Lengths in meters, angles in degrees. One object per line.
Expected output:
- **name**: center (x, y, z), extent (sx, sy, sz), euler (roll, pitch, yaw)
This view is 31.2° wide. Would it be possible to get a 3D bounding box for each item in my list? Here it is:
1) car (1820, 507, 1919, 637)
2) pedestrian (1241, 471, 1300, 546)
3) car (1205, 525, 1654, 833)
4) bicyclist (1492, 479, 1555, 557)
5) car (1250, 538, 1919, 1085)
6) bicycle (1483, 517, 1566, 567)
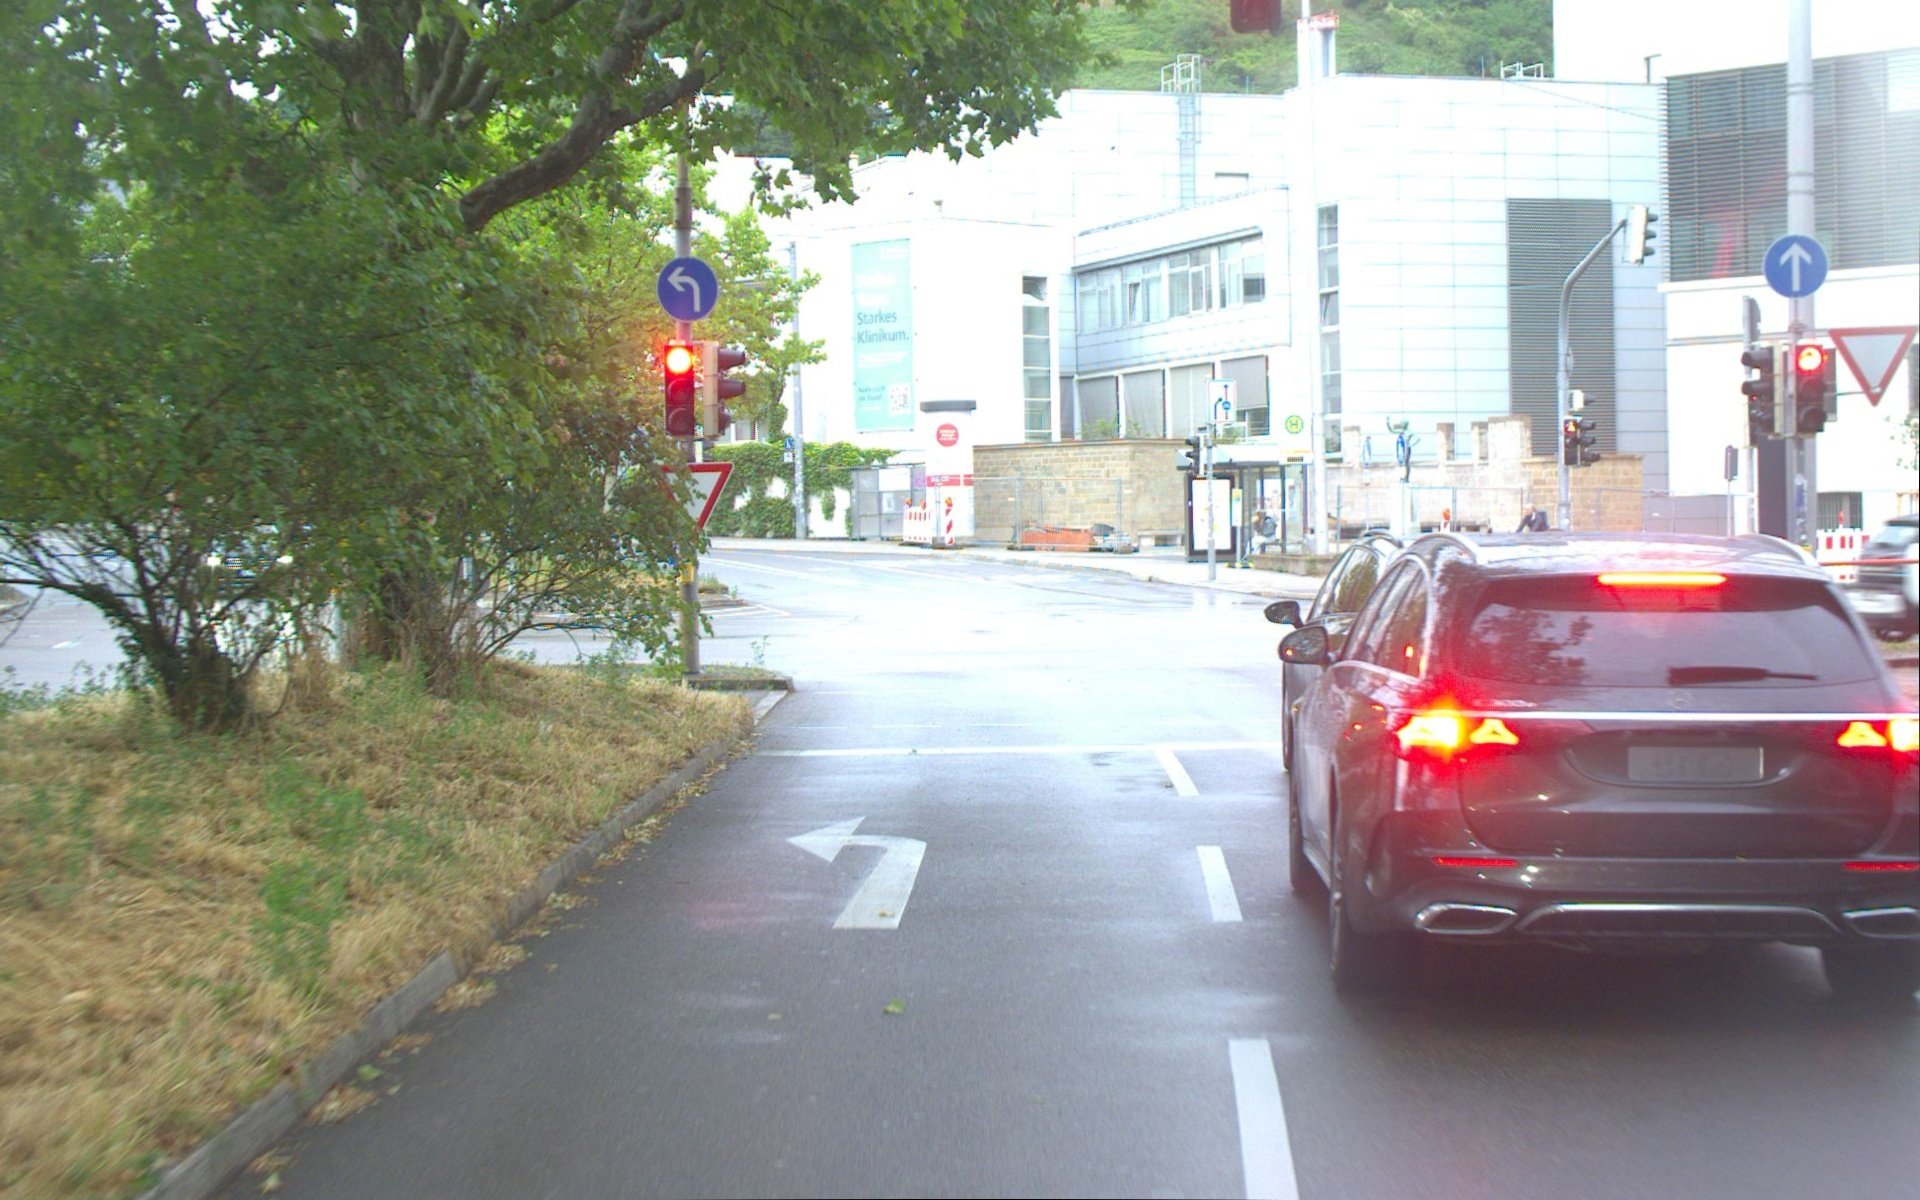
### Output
- **car**: center (12.050, -0.297, 39.046), extent (3.986, 1.416, 1.869), euler (1, 1, -11)
- **pedestrian**: center (7.273, -2.135, 80.627), extent (1.257, 1.713, 1.016), euler (1, 0, 0)
- **car**: center (2.560, 0.355, 19.801), extent (1.670, 1.461, 4.514), euler (0, 3, -4)
- **bicyclist**: center (11.964, -1.738, 73.015), extent (1.125, 1.627, 0.702), euler (0, 1, -36)
- **car**: center (2.115, 0.548, 12.062), extent (1.879, 1.440, 4.930), euler (1, 2, 1)
- **bicycle**: center (12.001, -1.236, 73.045), extent (1.816, 1.053, 0.648), euler (-1, 1, -36)
